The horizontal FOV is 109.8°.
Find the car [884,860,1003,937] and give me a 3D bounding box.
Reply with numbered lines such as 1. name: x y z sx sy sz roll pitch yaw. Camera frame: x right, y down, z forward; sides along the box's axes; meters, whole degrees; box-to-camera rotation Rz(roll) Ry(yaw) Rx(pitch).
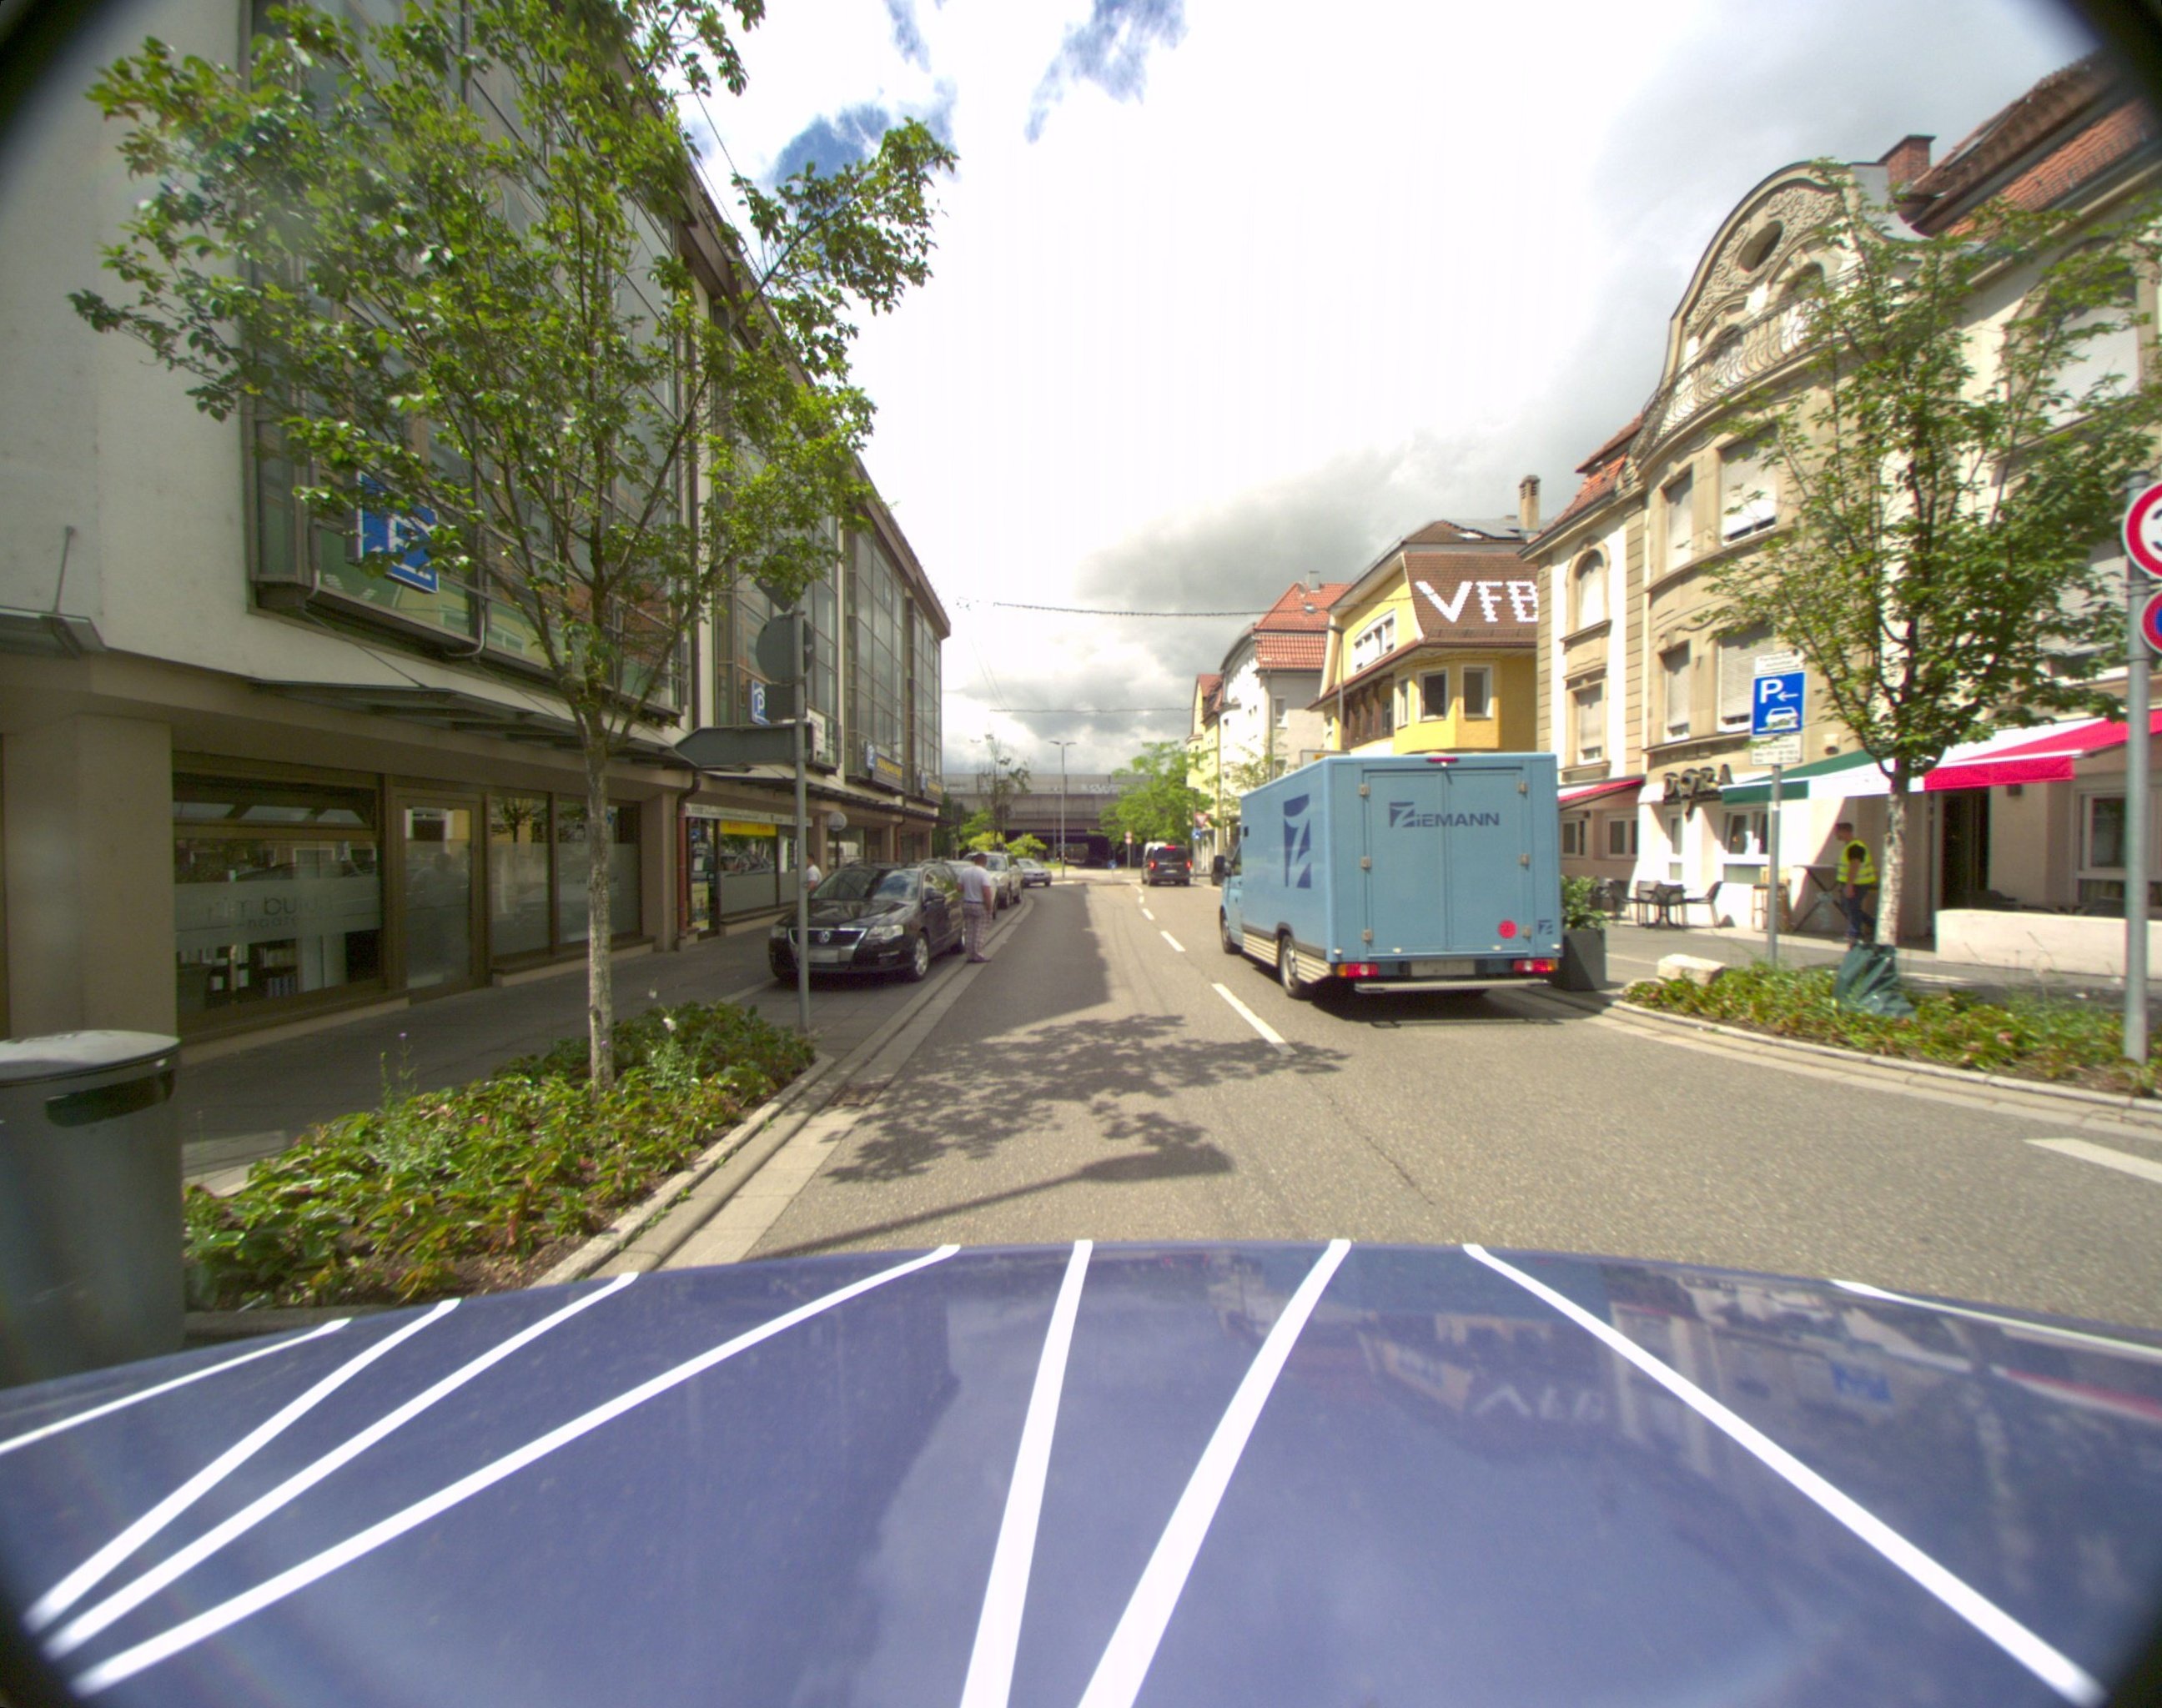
1. car: -2.963 0.909 17.370 1.857 1.436 4.535 -1 0 0

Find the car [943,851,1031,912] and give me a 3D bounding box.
1. car: -2.747 0.754 23.280 1.825 1.652 4.467 1 1 4

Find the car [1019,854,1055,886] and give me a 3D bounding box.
1. car: -2.236 0.789 39.431 1.724 1.517 3.597 -1 0 -2

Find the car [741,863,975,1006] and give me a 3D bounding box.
1. car: -2.715 0.891 10.421 1.719 1.445 4.552 -1 0 2

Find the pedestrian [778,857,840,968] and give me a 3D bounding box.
1. pedestrian: -3.966 0.836 11.110 0.661 1.553 0.477 -2 2 1

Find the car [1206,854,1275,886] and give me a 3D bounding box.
1. car: 6.810 0.666 32.916 1.722 1.296 4.465 -1 -1 -5

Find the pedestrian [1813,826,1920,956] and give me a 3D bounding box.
1. pedestrian: 11.008 0.498 10.684 0.810 1.746 0.802 -2 2 26

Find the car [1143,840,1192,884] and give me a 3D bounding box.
1. car: 4.088 0.391 36.618 1.876 1.921 5.177 -1 -1 2

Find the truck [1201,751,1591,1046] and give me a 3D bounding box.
1. truck: 3.044 0.314 9.328 2.111 2.292 6.475 -2 1 1

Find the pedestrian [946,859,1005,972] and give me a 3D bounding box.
1. pedestrian: -1.531 0.881 11.079 0.584 1.591 0.549 -2 2 21

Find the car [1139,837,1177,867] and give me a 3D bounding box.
1. car: 7.191 -0.234 71.789 2.309 2.657 7.266 -2 1 -4
